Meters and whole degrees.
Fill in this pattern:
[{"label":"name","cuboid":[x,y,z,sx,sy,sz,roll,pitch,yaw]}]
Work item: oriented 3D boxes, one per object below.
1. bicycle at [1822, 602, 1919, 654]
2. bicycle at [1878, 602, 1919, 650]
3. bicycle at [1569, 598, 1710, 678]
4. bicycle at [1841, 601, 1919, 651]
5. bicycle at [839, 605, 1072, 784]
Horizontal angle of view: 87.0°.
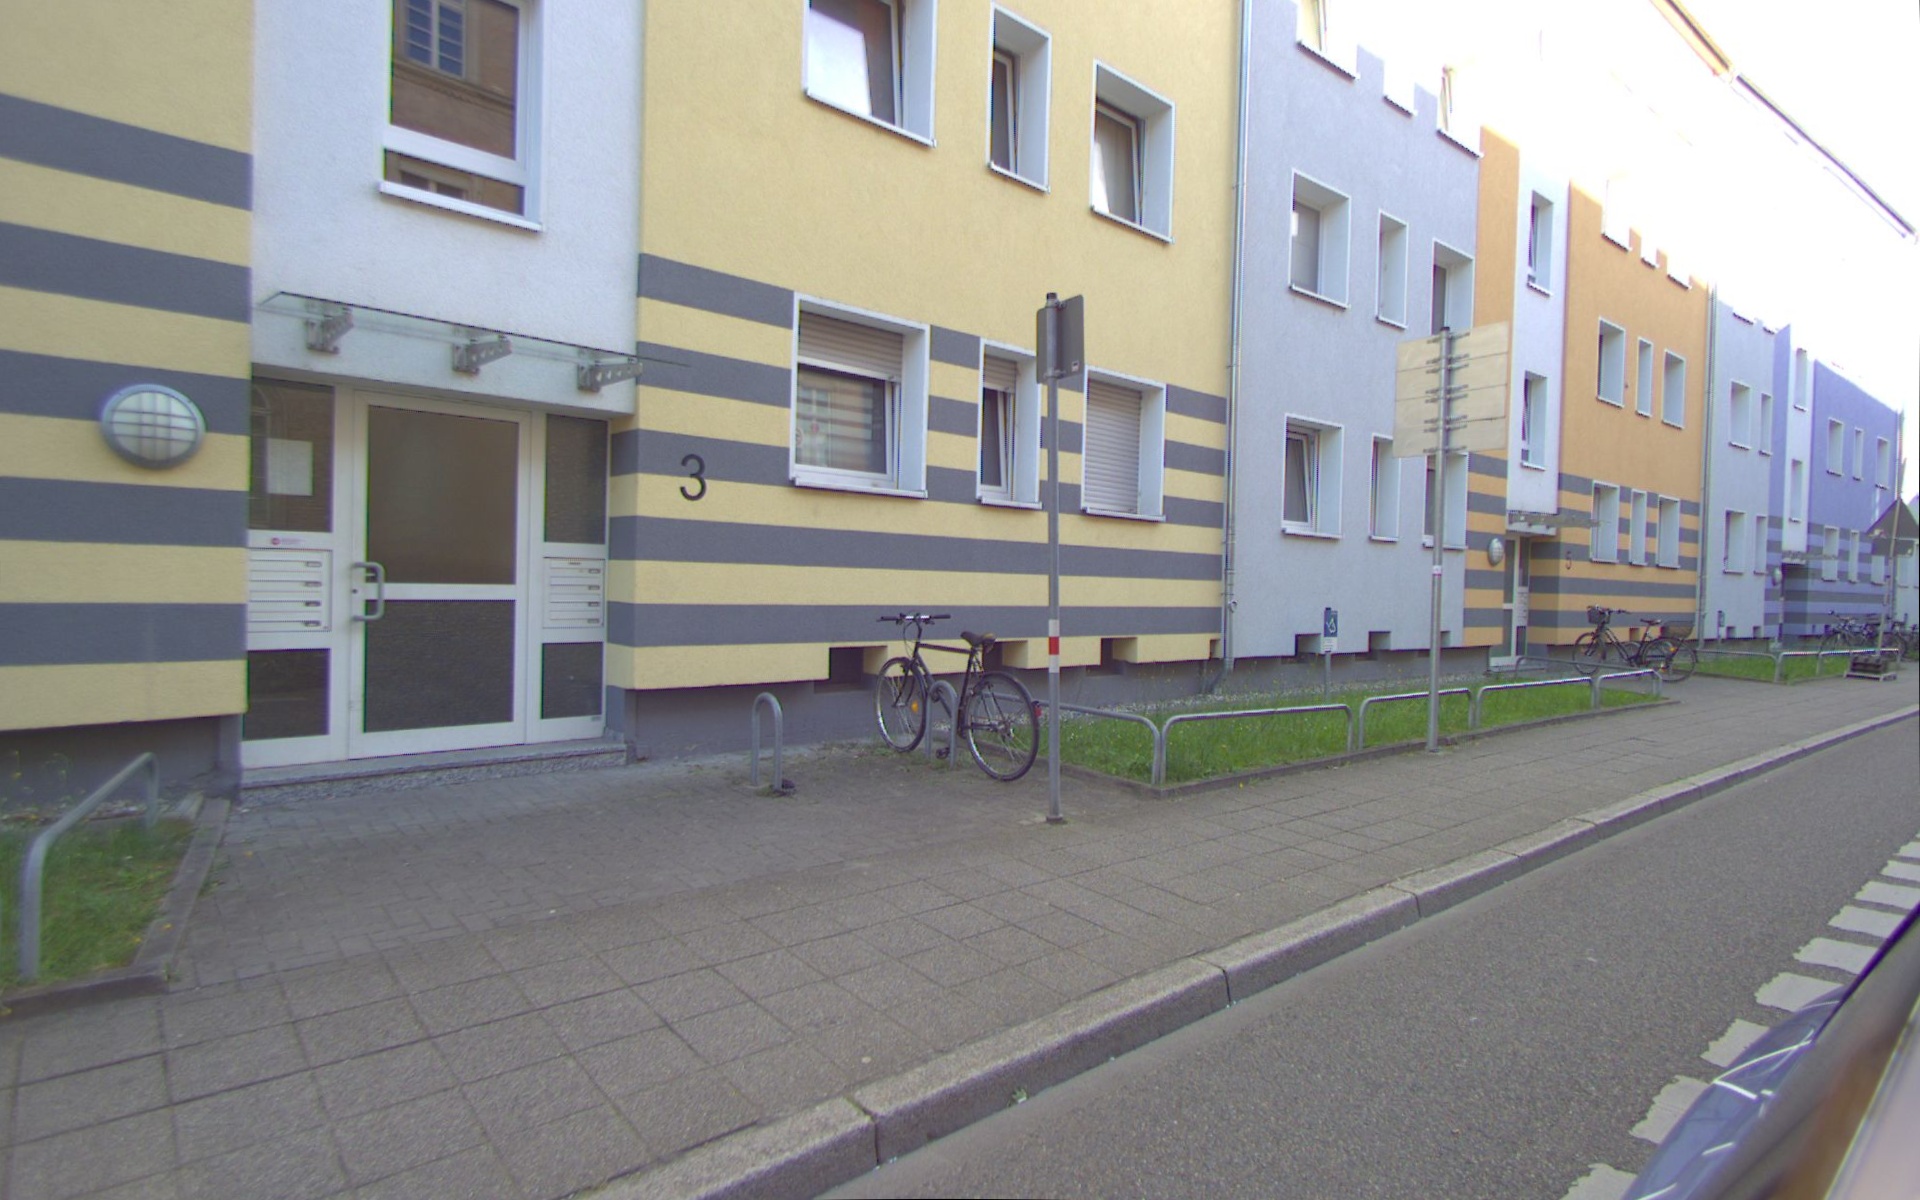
[{"label":"bicycle","cuboid":[22.215,0.666,24.729,0.475,1.166,1.678,1,1,-37]},{"label":"bicycle","cuboid":[24.124,0.661,25.279,0.475,1.166,1.678,1,1,-37]},{"label":"bicycle","cuboid":[10.677,0.565,15.945,1.775,1.137,0.476,3,1,44]},{"label":"bicycle","cuboid":[23.296,0.649,25.422,0.475,1.166,1.678,1,1,-37]},{"label":"bicycle","cuboid":[-0.083,0.588,7.015,1.775,1.031,0.476,3,1,44]}]
